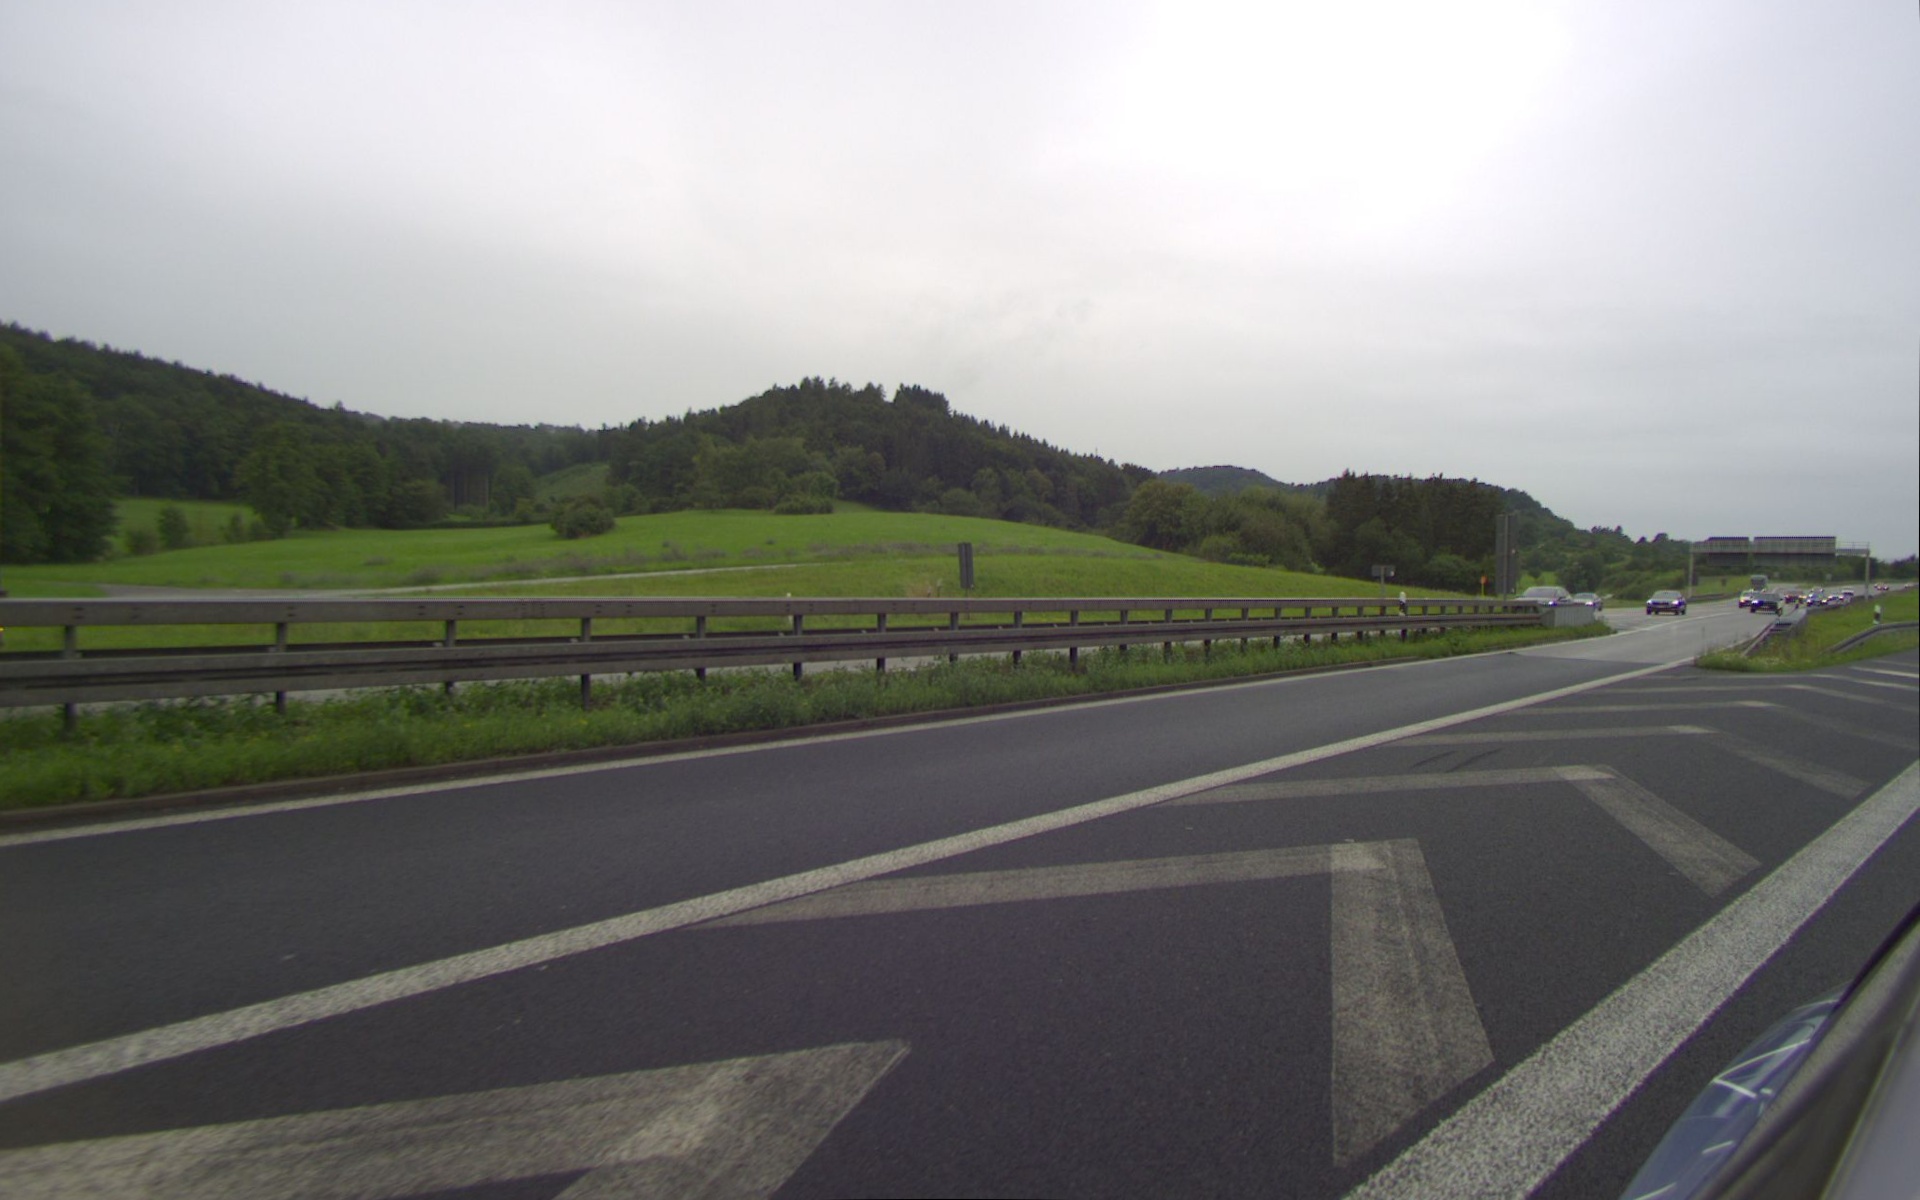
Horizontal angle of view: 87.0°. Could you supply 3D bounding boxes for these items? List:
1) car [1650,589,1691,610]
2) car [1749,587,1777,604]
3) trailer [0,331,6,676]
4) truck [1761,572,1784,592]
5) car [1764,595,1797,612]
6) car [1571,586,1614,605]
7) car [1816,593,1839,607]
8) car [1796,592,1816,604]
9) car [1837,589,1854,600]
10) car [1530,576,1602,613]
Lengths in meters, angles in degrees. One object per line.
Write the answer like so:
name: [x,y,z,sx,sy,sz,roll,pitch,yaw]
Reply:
car: [47.770,-0.057,68.028,1.667,1.400,4.061,0,1,44]
car: [85.410,-0.488,107.677,1.909,1.715,4.644,0,1,44]
trailer: [-16.211,-1.059,8.224,12.287,3.943,2.605,-1,1,-45]
truck: [163.263,-3.612,203.351,2.791,3.950,9.872,0,1,43]
car: [67.282,0.259,82.985,1.861,1.374,4.498,0,1,42]
car: [50.431,-0.407,80.696,4.633,1.473,1.900,-1,1,-45]
car: [106.902,-0.047,124.762,1.909,1.715,4.644,0,1,44]
car: [118.207,-0.271,141.424,1.909,1.715,4.644,0,1,44]
car: [140.179,-0.853,160.218,1.909,1.715,4.644,0,1,44]
car: [28.039,-0.267,46.771,4.568,1.630,1.771,-1,1,-45]
